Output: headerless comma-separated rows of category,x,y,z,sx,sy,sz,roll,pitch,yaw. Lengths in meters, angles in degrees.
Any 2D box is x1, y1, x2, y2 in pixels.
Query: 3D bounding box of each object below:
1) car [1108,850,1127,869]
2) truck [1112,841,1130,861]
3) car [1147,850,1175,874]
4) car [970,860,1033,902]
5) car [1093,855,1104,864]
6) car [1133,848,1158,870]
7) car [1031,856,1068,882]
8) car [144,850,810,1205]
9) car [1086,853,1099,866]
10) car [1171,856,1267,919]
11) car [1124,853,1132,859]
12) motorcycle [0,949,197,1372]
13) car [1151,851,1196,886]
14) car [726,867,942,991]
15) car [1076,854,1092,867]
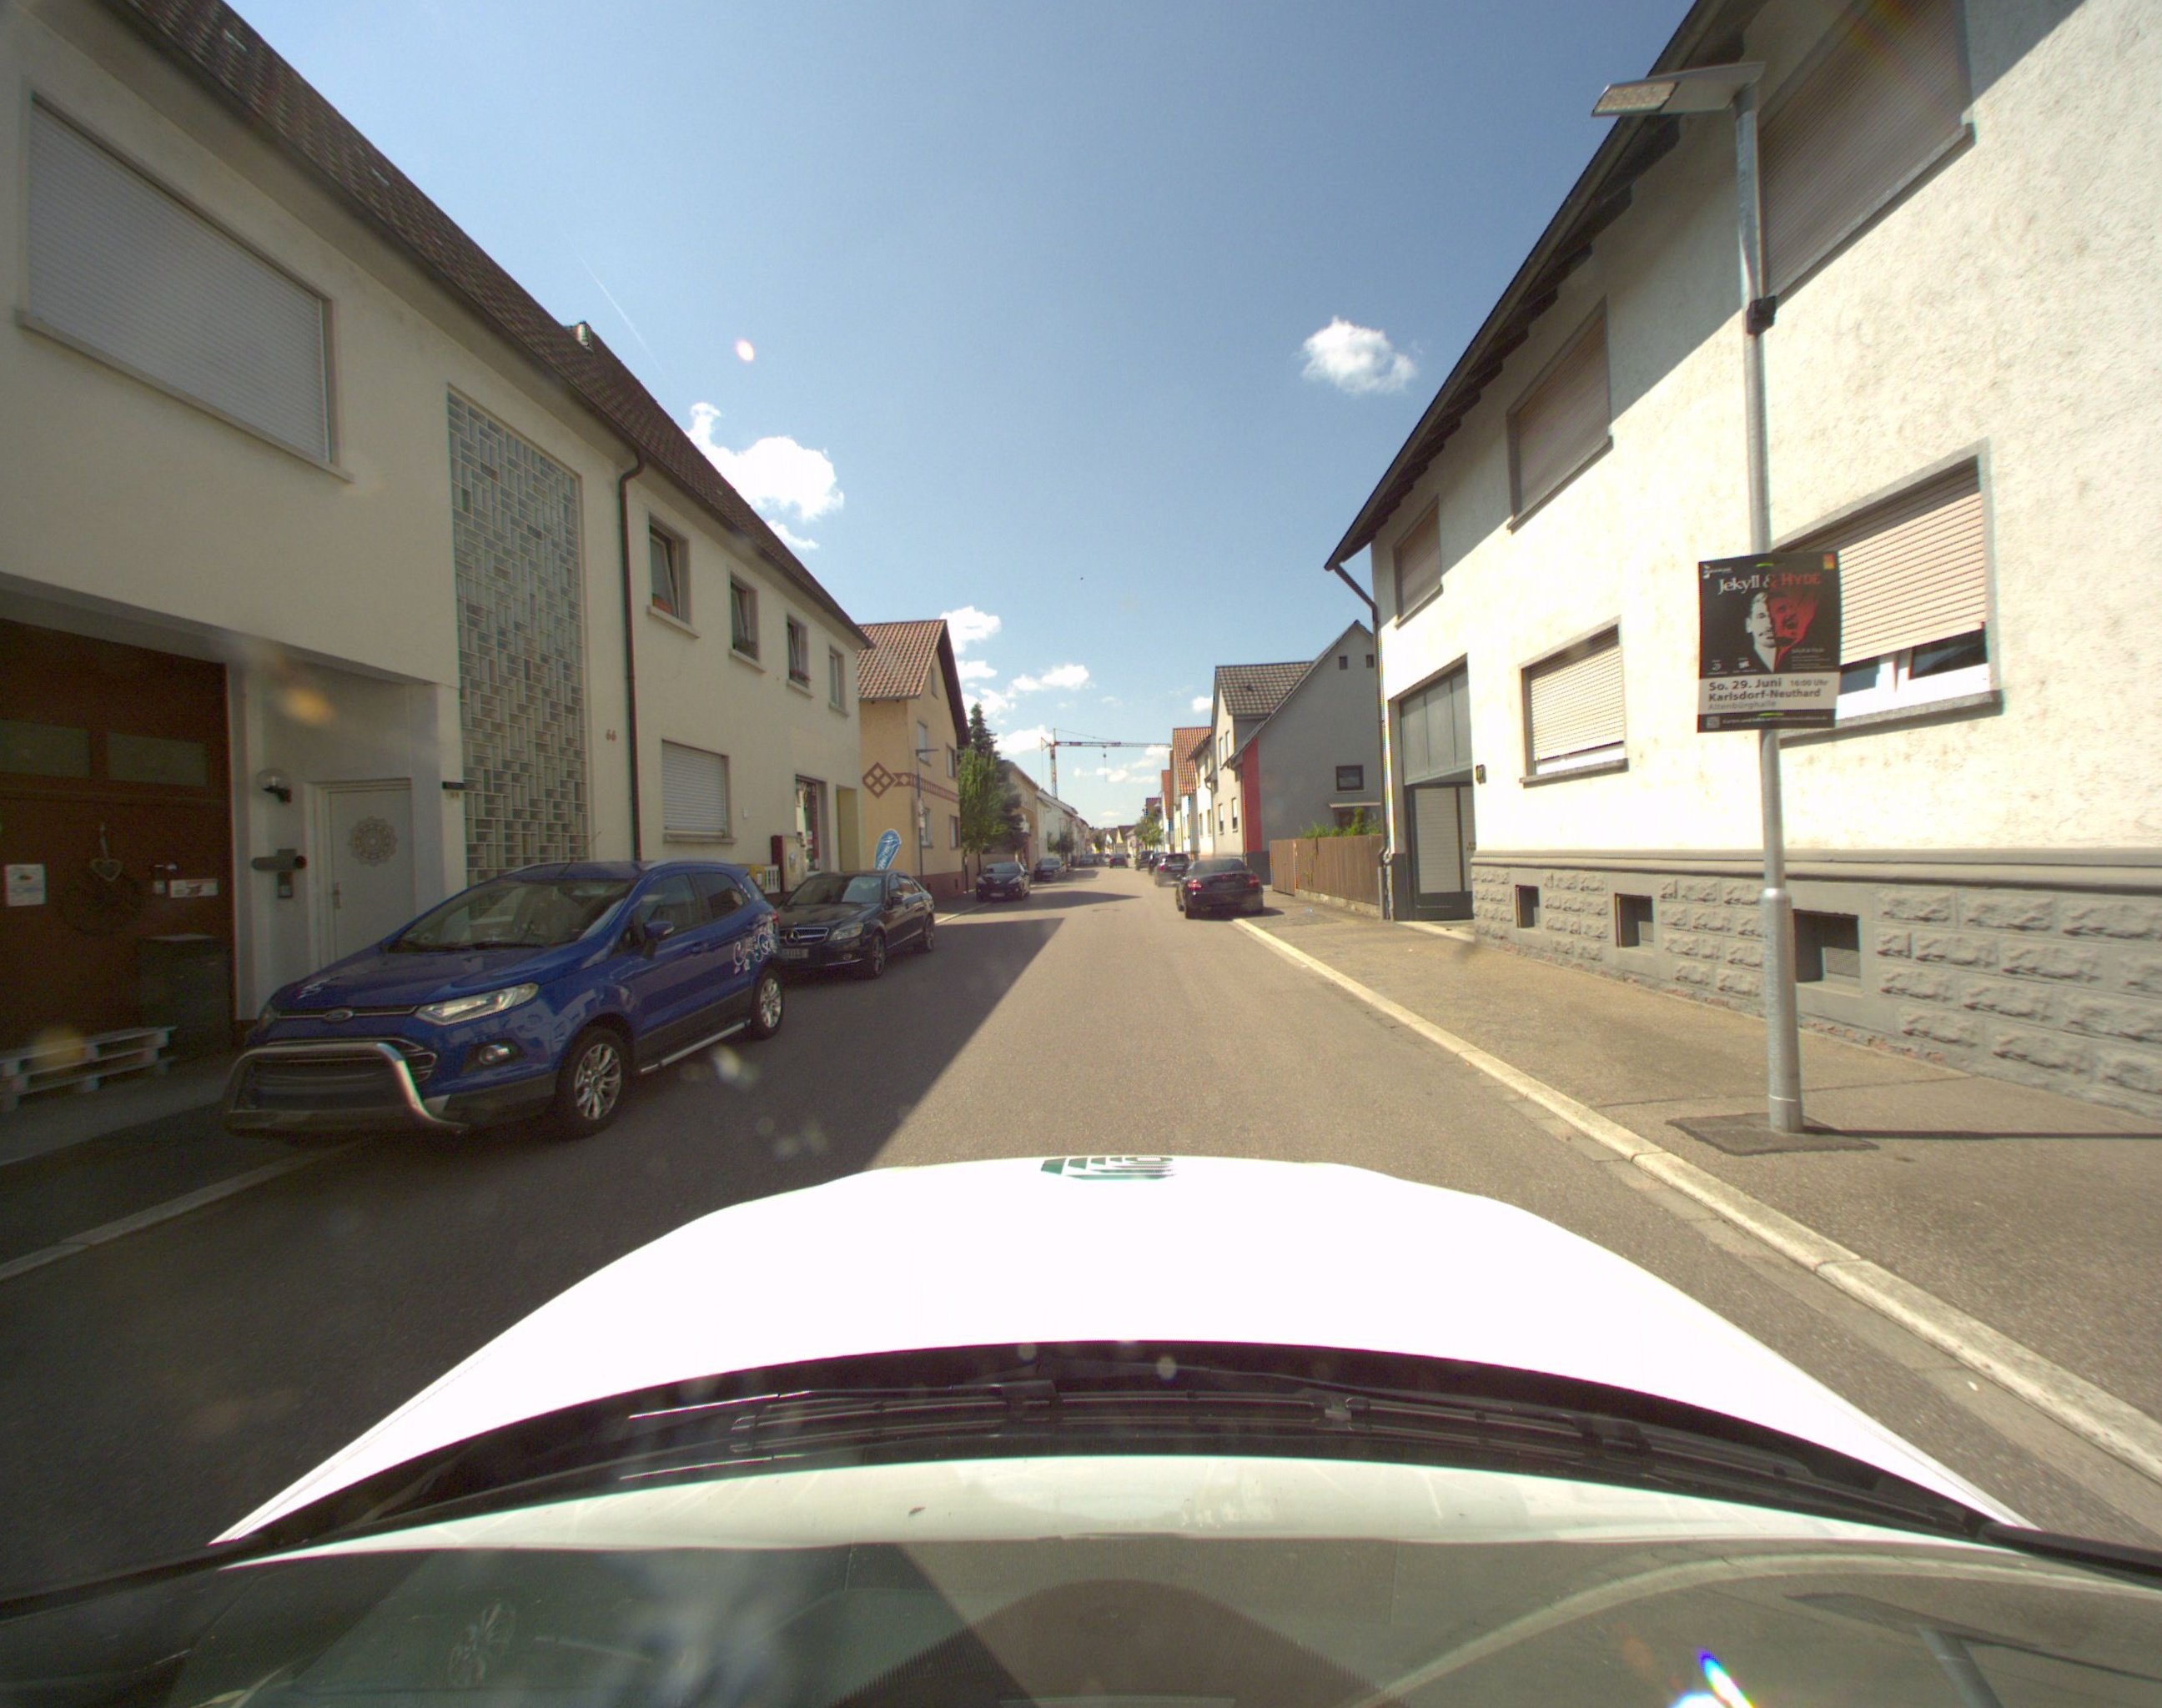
car,3.732,0.575,83.232,1.776,1.753,4.001,-3,0,2
truck,8.553,-0.591,177.919,3.367,3.865,13.929,-3,0,1
car,5.465,0.545,56.145,1.611,1.495,3.974,-5,0,2
car,-2.905,0.960,30.590,1.754,1.374,4.068,-1,0,2
car,3.199,1.010,147.021,1.716,1.555,4.176,-1,0,3
car,5.428,0.429,68.716,1.723,1.717,4.276,-2,0,1
car,-1.928,0.897,51.468,1.760,1.460,4.441,-2,0,4
car,-3.688,0.859,6.108,1.711,1.639,4.150,-4,0,1
car,1.524,0.708,107.516,1.647,1.609,4.063,-3,0,2
car,3.228,0.733,19.763,1.808,1.276,4.150,-2,0,3
car,12.006,0.507,206.555,1.777,1.564,4.337,-3,0,1
motorcycle,-3.965,1.049,2.182,0.805,1.312,2.106,-2,0,2
car,4.087,0.626,36.420,1.681,1.422,3.659,-3,0,3
car,-3.450,0.968,12.320,1.691,1.411,4.393,-2,0,3
car,0.434,0.795,100.761,1.752,1.525,4.291,-3,0,2
